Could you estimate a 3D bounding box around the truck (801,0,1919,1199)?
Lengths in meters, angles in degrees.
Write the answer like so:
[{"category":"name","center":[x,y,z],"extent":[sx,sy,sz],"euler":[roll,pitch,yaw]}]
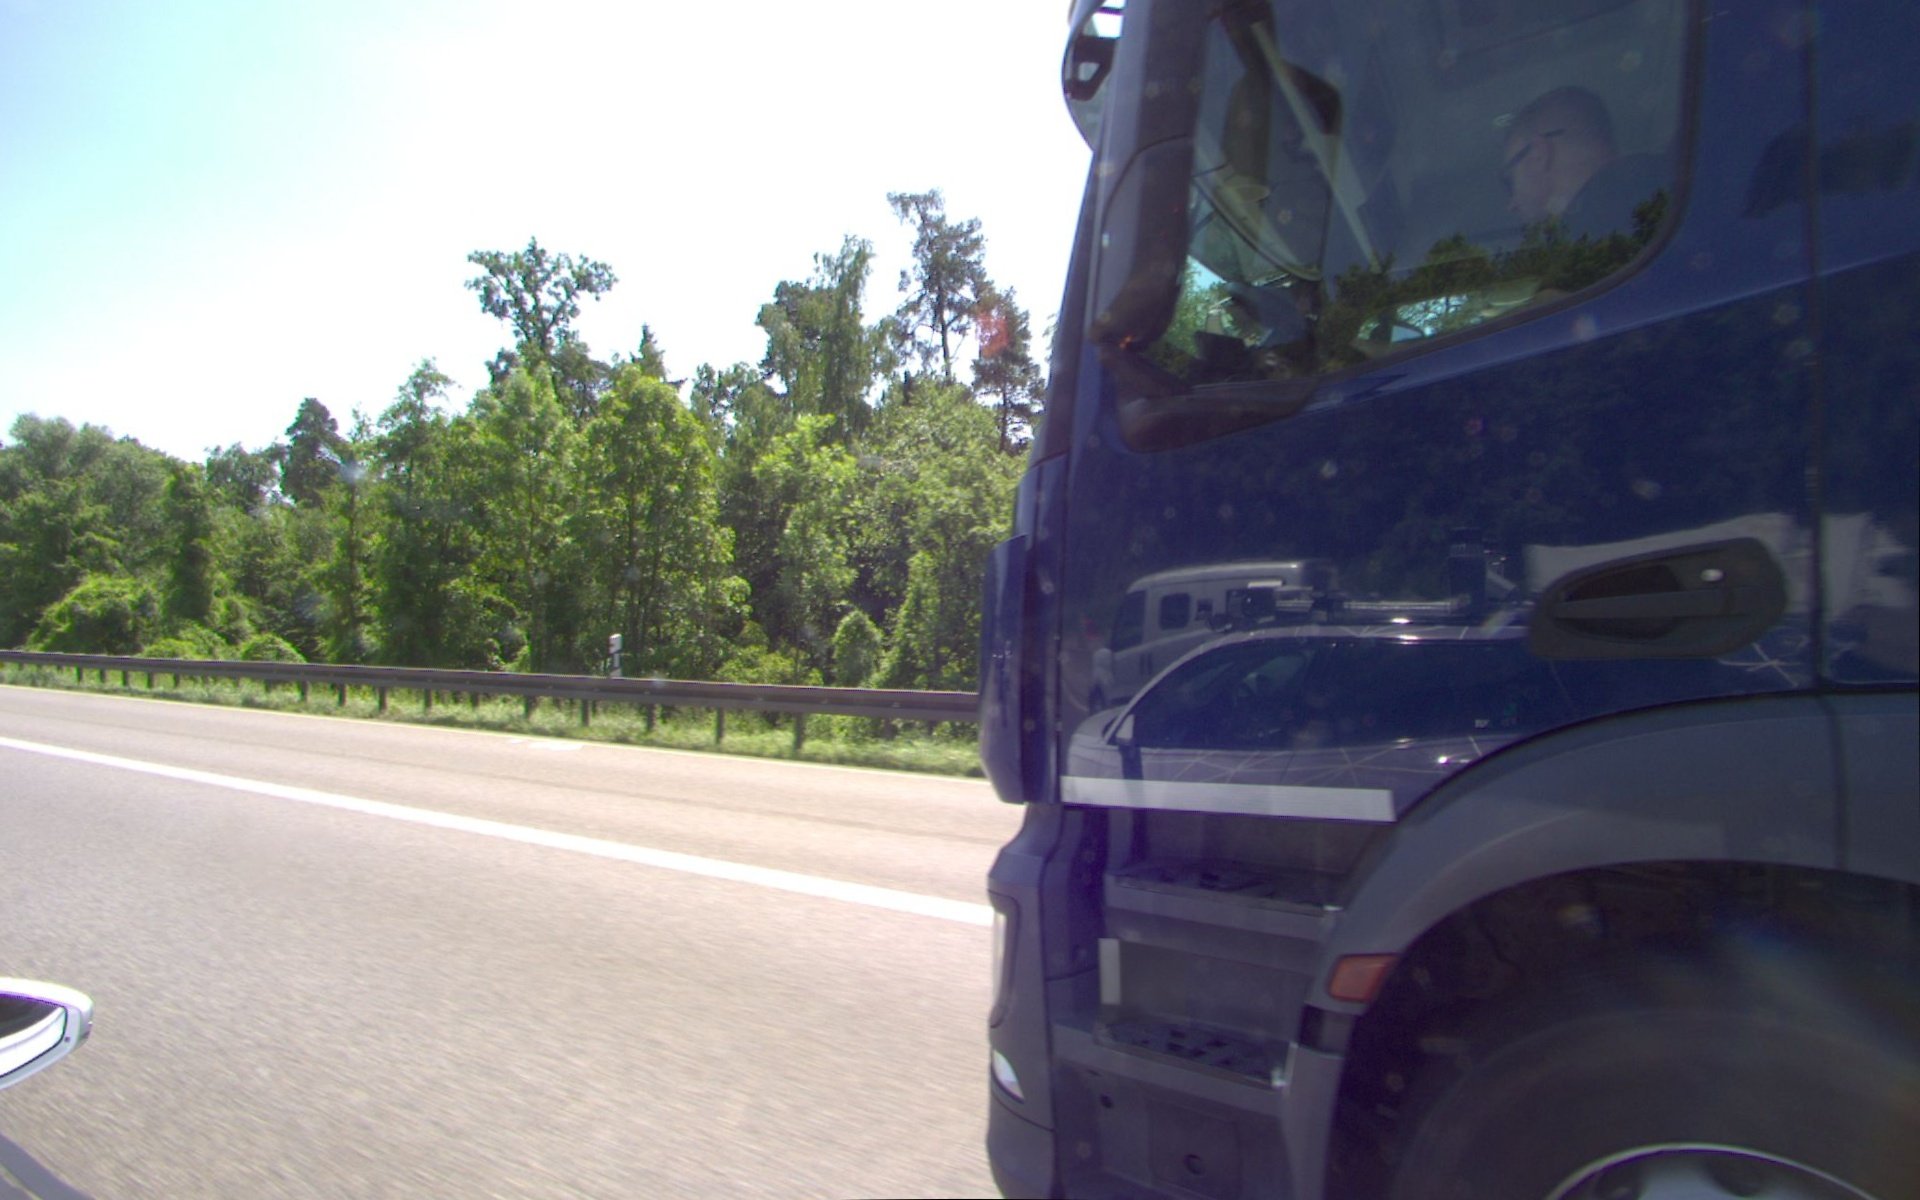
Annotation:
[{"category":"truck","center":[2.096,0.018,1.950],"extent":[4.045,2.979,2.551],"euler":[-2,-1,31]}]
